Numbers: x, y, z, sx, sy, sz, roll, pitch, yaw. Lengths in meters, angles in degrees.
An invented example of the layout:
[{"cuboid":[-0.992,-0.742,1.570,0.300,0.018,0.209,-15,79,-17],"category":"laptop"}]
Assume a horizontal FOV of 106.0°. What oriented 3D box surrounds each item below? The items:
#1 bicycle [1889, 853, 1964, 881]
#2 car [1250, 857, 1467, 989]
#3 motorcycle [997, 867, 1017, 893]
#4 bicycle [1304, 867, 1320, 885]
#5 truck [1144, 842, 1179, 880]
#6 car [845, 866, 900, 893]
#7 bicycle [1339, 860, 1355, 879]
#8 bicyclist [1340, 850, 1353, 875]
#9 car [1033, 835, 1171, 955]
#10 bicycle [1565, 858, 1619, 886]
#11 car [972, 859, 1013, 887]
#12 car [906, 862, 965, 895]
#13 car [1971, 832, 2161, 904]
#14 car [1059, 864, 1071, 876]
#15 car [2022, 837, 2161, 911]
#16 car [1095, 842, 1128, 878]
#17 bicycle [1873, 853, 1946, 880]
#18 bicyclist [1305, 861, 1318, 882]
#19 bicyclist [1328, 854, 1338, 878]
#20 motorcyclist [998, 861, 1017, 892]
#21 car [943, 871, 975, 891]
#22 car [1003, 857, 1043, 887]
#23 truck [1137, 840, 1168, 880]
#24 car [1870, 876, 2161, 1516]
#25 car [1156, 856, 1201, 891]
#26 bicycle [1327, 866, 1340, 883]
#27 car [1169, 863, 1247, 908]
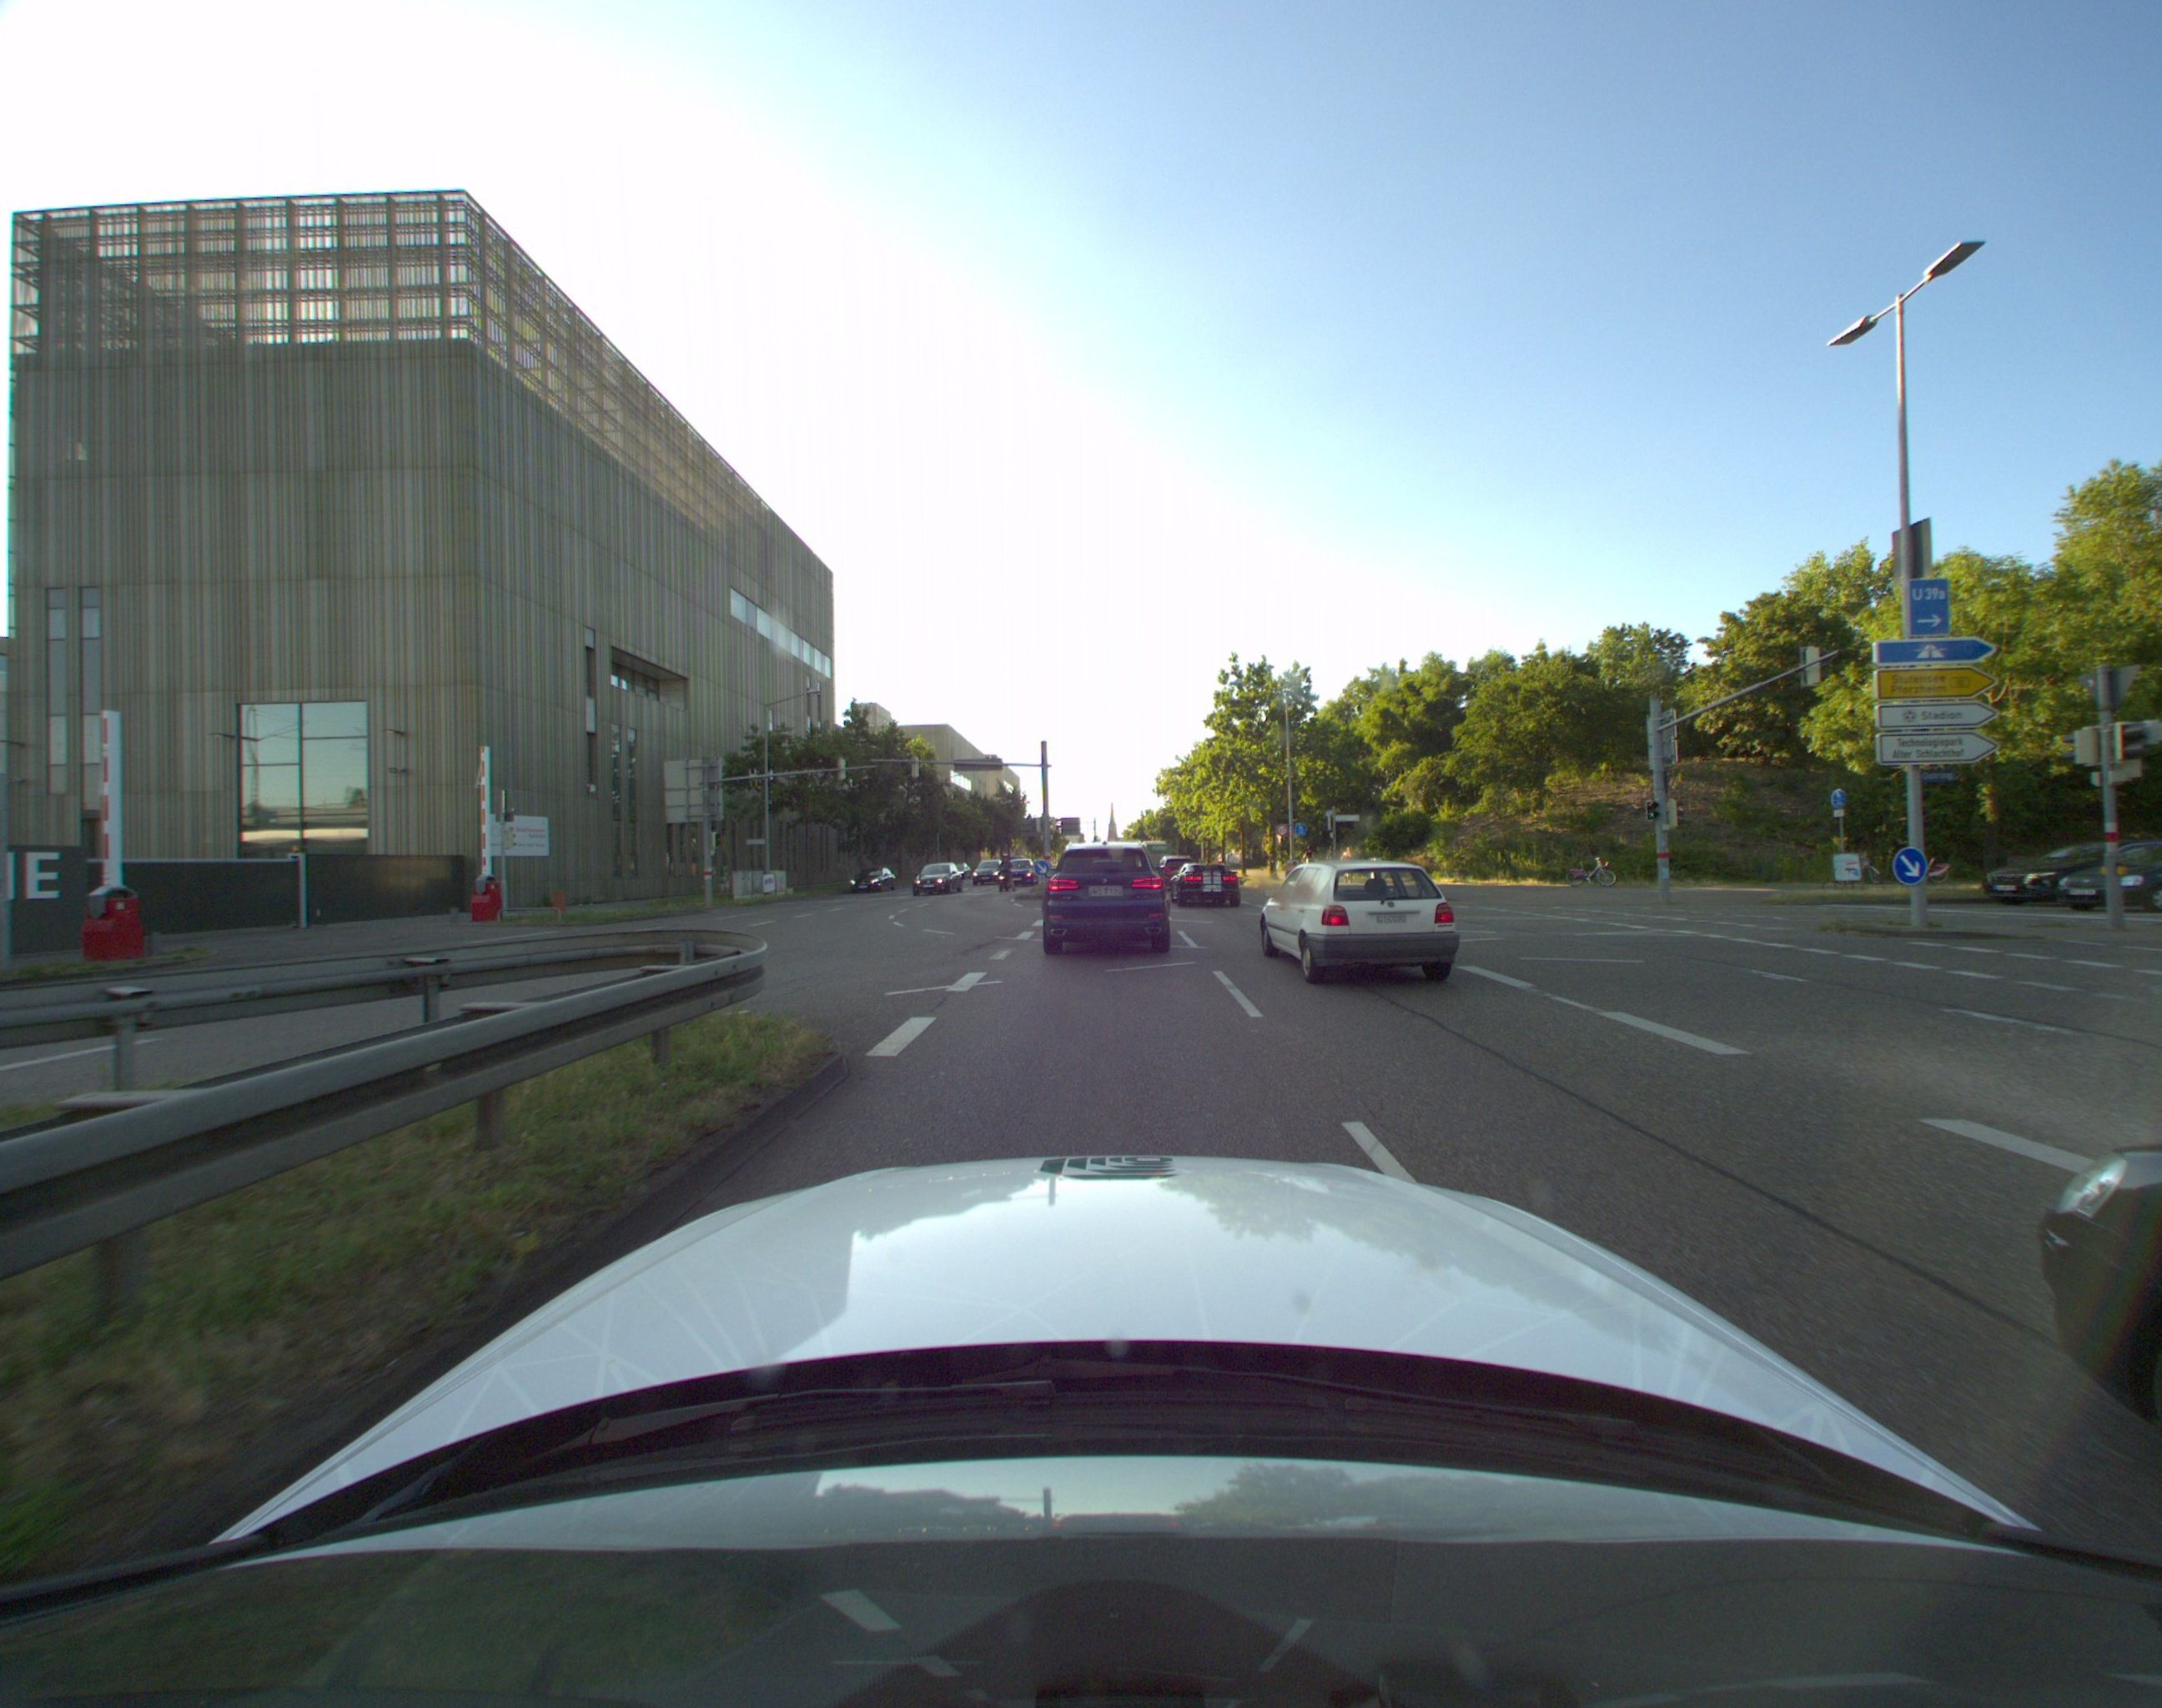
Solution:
[{"cuboid":[29.935,0.469,28.855,1.778,0.980,0.642,0,0,16],"category":"bicycle"},{"cuboid":[3.395,0.784,10.774,1.573,1.413,4.063,0,-1,1],"category":"car"},{"cuboid":[-3.381,1.167,37.366,0.838,1.076,2.397,-3,0,-5],"category":"motorcycle"},{"cuboid":[14.285,1.363,50.453,0.562,1.112,1.622,0,-1,2],"category":"bicycle"},{"cuboid":[5.106,0.473,51.976,1.988,2.315,4.002,0,-1,2],"category":"truck"},{"cuboid":[-12.311,1.503,48.308,1.987,1.400,4.349,-5,-1,1],"category":"car"},{"cuboid":[13.111,0.775,40.091,0.436,0.914,1.027,-3,-2,2],"category":"bicycle"},{"cuboid":[13.115,0.418,40.214,0.426,1.233,0.460,-2,-2,2],"category":"bicyclist"},{"cuboid":[0.396,0.640,14.017,1.986,1.734,4.534,0,-1,2],"category":"car"},{"cuboid":[19.493,0.674,31.095,1.649,0.991,0.581,-2,2,18],"category":"bicycle"},{"cuboid":[-5.710,1.222,52.972,1.987,1.592,4.715,-5,-1,1],"category":"car"},{"cuboid":[-6.902,1.158,38.920,1.986,1.475,4.080,1,-1,1],"category":"car"},{"cuboid":[25.289,0.351,20.267,3.964,1.694,1.866,0,-2,8],"category":"car"},{"cuboid":[-2.723,2.706,137.884,1.750,1.777,4.494,-5,-1,1],"category":"car"},{"cuboid":[23.804,0.436,17.760,3.964,1.530,2.004,0,-1,8],"category":"car"},{"cuboid":[2.238,0.497,61.257,2.132,2.576,5.081,0,-1,-3],"category":"car"},{"cuboid":[30.431,0.456,29.925,1.778,0.980,0.642,0,-2,16],"category":"bicycle"},{"cuboid":[14.285,1.089,50.485,0.541,1.316,0.836,0,-2,2],"category":"bicyclist"},{"cuboid":[13.868,0.650,44.789,0.426,1.309,0.460,0,-2,2],"category":"bicyclist"},{"cuboid":[-3.364,1.027,37.454,0.796,1.349,1.272,-3,1,-5],"category":"motorcyclist"},{"cuboid":[-11.017,2.402,73.813,1.987,1.592,4.715,-5,-1,1],"category":"car"},{"cuboid":[-3.140,0.980,44.638,1.696,1.452,3.858,-5,-1,1],"category":"car"},{"cuboid":[4.954,0.440,56.816,1.988,2.669,4.002,0,-1,2],"category":"truck"},{"cuboid":[3.122,0.727,0.610,1.610,1.410,3.685,0,-1,3],"category":"car"},{"cuboid":[4.551,0.918,38.355,1.789,1.559,4.002,0,-1,2],"category":"car"},{"cuboid":[13.870,1.109,44.758,0.435,0.914,1.027,0,-2,2],"category":"bicycle"},{"cuboid":[3.872,0.956,25.515,1.986,1.295,4.002,0,-1,2],"category":"car"}]
